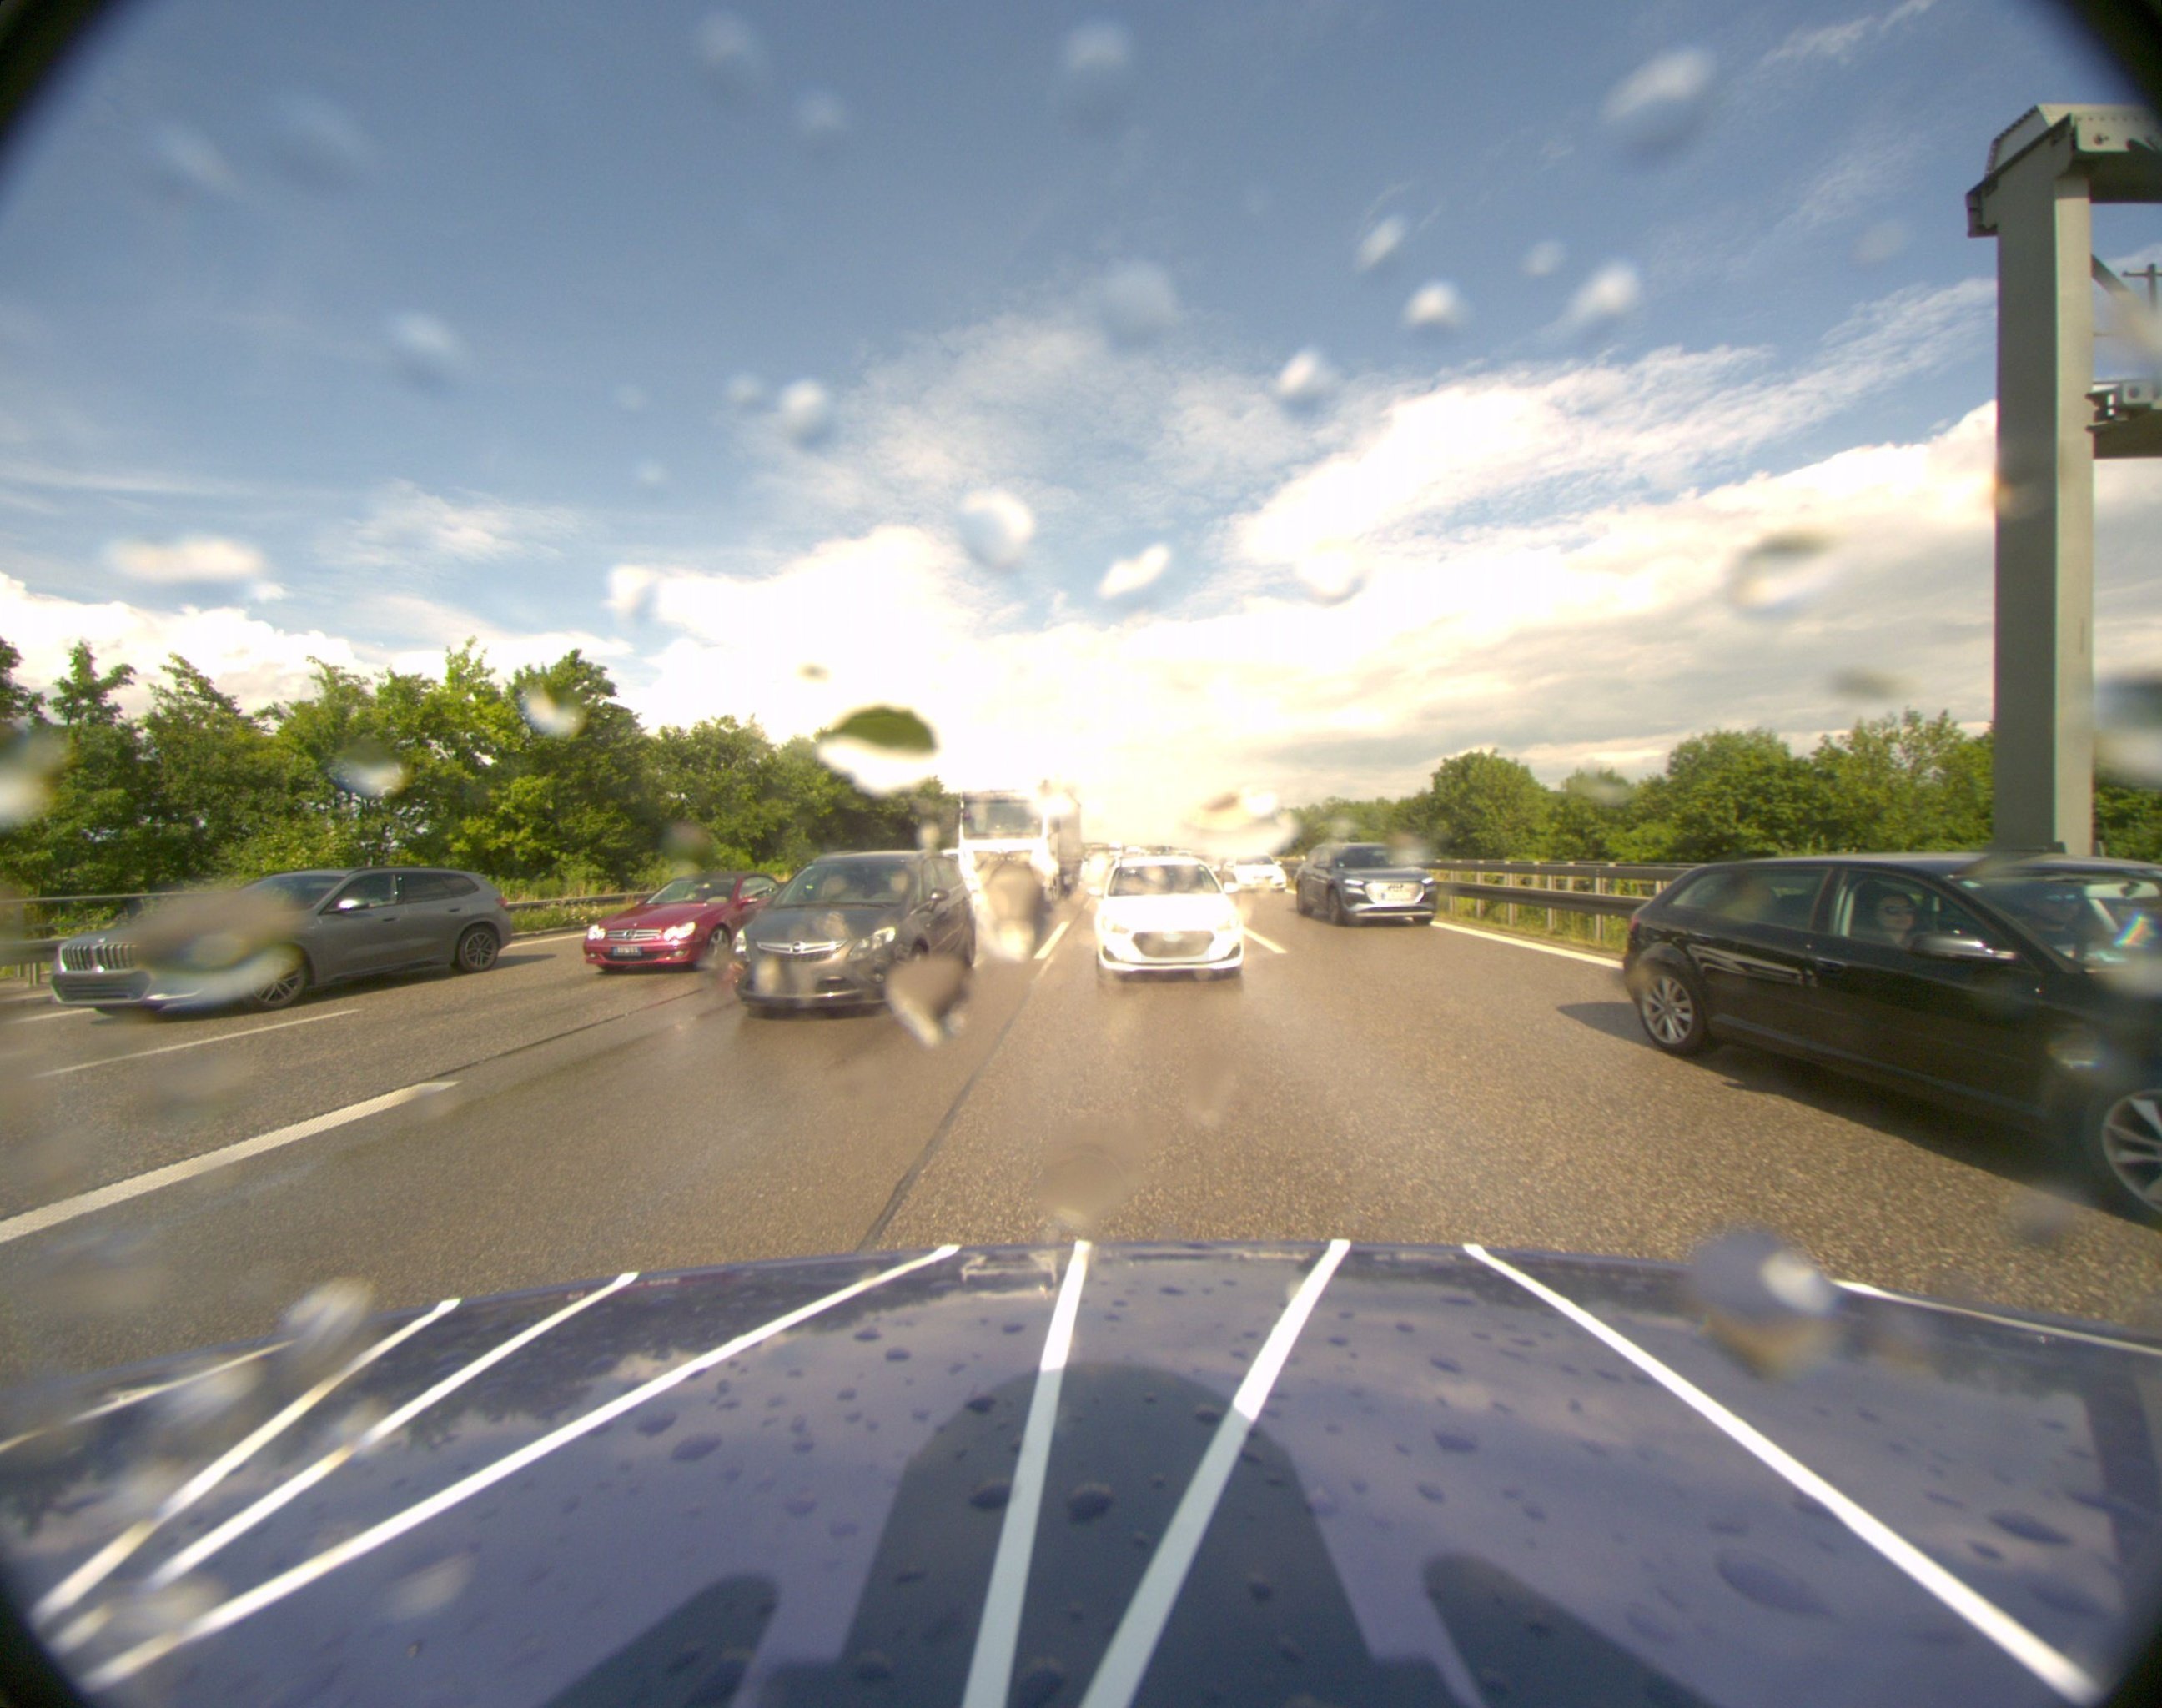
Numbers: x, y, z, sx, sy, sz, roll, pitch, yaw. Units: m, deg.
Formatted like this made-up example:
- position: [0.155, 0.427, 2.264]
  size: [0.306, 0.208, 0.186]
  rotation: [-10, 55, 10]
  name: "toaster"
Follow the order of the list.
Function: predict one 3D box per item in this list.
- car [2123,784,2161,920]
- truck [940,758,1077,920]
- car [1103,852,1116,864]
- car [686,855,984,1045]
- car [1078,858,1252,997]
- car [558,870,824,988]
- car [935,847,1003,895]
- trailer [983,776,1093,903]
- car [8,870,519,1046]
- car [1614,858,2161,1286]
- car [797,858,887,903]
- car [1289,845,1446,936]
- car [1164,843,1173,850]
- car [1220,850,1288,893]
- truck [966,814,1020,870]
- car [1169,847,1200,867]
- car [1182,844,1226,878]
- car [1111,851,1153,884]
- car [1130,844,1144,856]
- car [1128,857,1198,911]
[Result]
- position: [16.818, -0.020, 8.790]
  size: [1.998, 2.002, 5.558]
  rotation: [-1, 1, 2]
  name: "car"
- position: [-1.902, -0.412, 23.374]
  size: [2.816, 4.083, 7.447]
  rotation: [-2, 1, 4]
  name: "truck"
- position: [4.709, 0.679, 126.185]
  size: [1.998, 1.687, 3.999]
  rotation: [-3, 1, 2]
  name: "car"
- position: [-2.486, 0.867, 9.003]
  size: [1.883, 1.638, 4.397]
  rotation: [-1, 0, 3]
  name: "car"
- position: [1.029, 0.826, 10.670]
  size: [1.886, 1.446, 4.548]
  rotation: [-1, 0, 3]
  name: "car"
- position: [-5.982, 1.059, 12.409]
  size: [1.756, 1.402, 4.512]
  rotation: [-2, 0, 4]
  name: "car"
- position: [-4.821, 0.659, 33.424]
  size: [1.954, 1.875, 5.167]
  rotation: [-2, 1, 2]
  name: "car"
- position: [-1.335, -0.537, 30.792]
  size: [2.789, 4.083, 11.541]
  rotation: [-2, 1, 4]
  name: "trailer"
- position: [-9.802, 1.096, 9.773]
  size: [1.752, 1.577, 4.287]
  rotation: [-2, 1, 3]
  name: "car"
- position: [4.805, 0.798, 3.646]
  size: [1.770, 1.417, 4.139]
  rotation: [-2, 1, 4]
  name: "car"
- position: [-8.989, 0.941, 28.987]
  size: [1.791, 1.454, 4.506]
  rotation: [-2, 1, 2]
  name: "car"
- position: [5.746, 0.635, 15.802]
  size: [1.874, 1.597, 4.229]
  rotation: [-2, 1, 4]
  name: "car"
- position: [22.454, -1.954, 195.195]
  size: [1.998, 1.768, 4.461]
  rotation: [-2, 0, 3]
  name: "car"
- position: [6.350, 0.586, 28.278]
  size: [1.771, 1.371, 3.999]
  rotation: [-1, 1, 2]
  name: "car"
- position: [-6.573, -0.923, 57.593]
  size: [3.112, 3.932, 5.866]
  rotation: [-2, 1, 2]
  name: "truck"
- position: [8.281, 0.220, 61.208]
  size: [1.998, 1.471, 3.999]
  rotation: [-3, 1, 2]
  name: "car"
- position: [7.123, 0.387, 44.315]
  size: [1.998, 1.739, 3.999]
  rotation: [-3, 1, 2]
  name: "car"
- position: [2.557, 0.636, 38.928]
  size: [1.998, 1.478, 3.999]
  rotation: [-1, 1, 2]
  name: "car"
- position: [8.774, -0.695, 119.741]
  size: [1.998, 1.687, 3.999]
  rotation: [-3, 1, 2]
  name: "car"
- position: [2.275, 0.802, 22.003]
  size: [1.728, 1.330, 4.288]
  rotation: [-1, 0, 3]
  name: "car"
